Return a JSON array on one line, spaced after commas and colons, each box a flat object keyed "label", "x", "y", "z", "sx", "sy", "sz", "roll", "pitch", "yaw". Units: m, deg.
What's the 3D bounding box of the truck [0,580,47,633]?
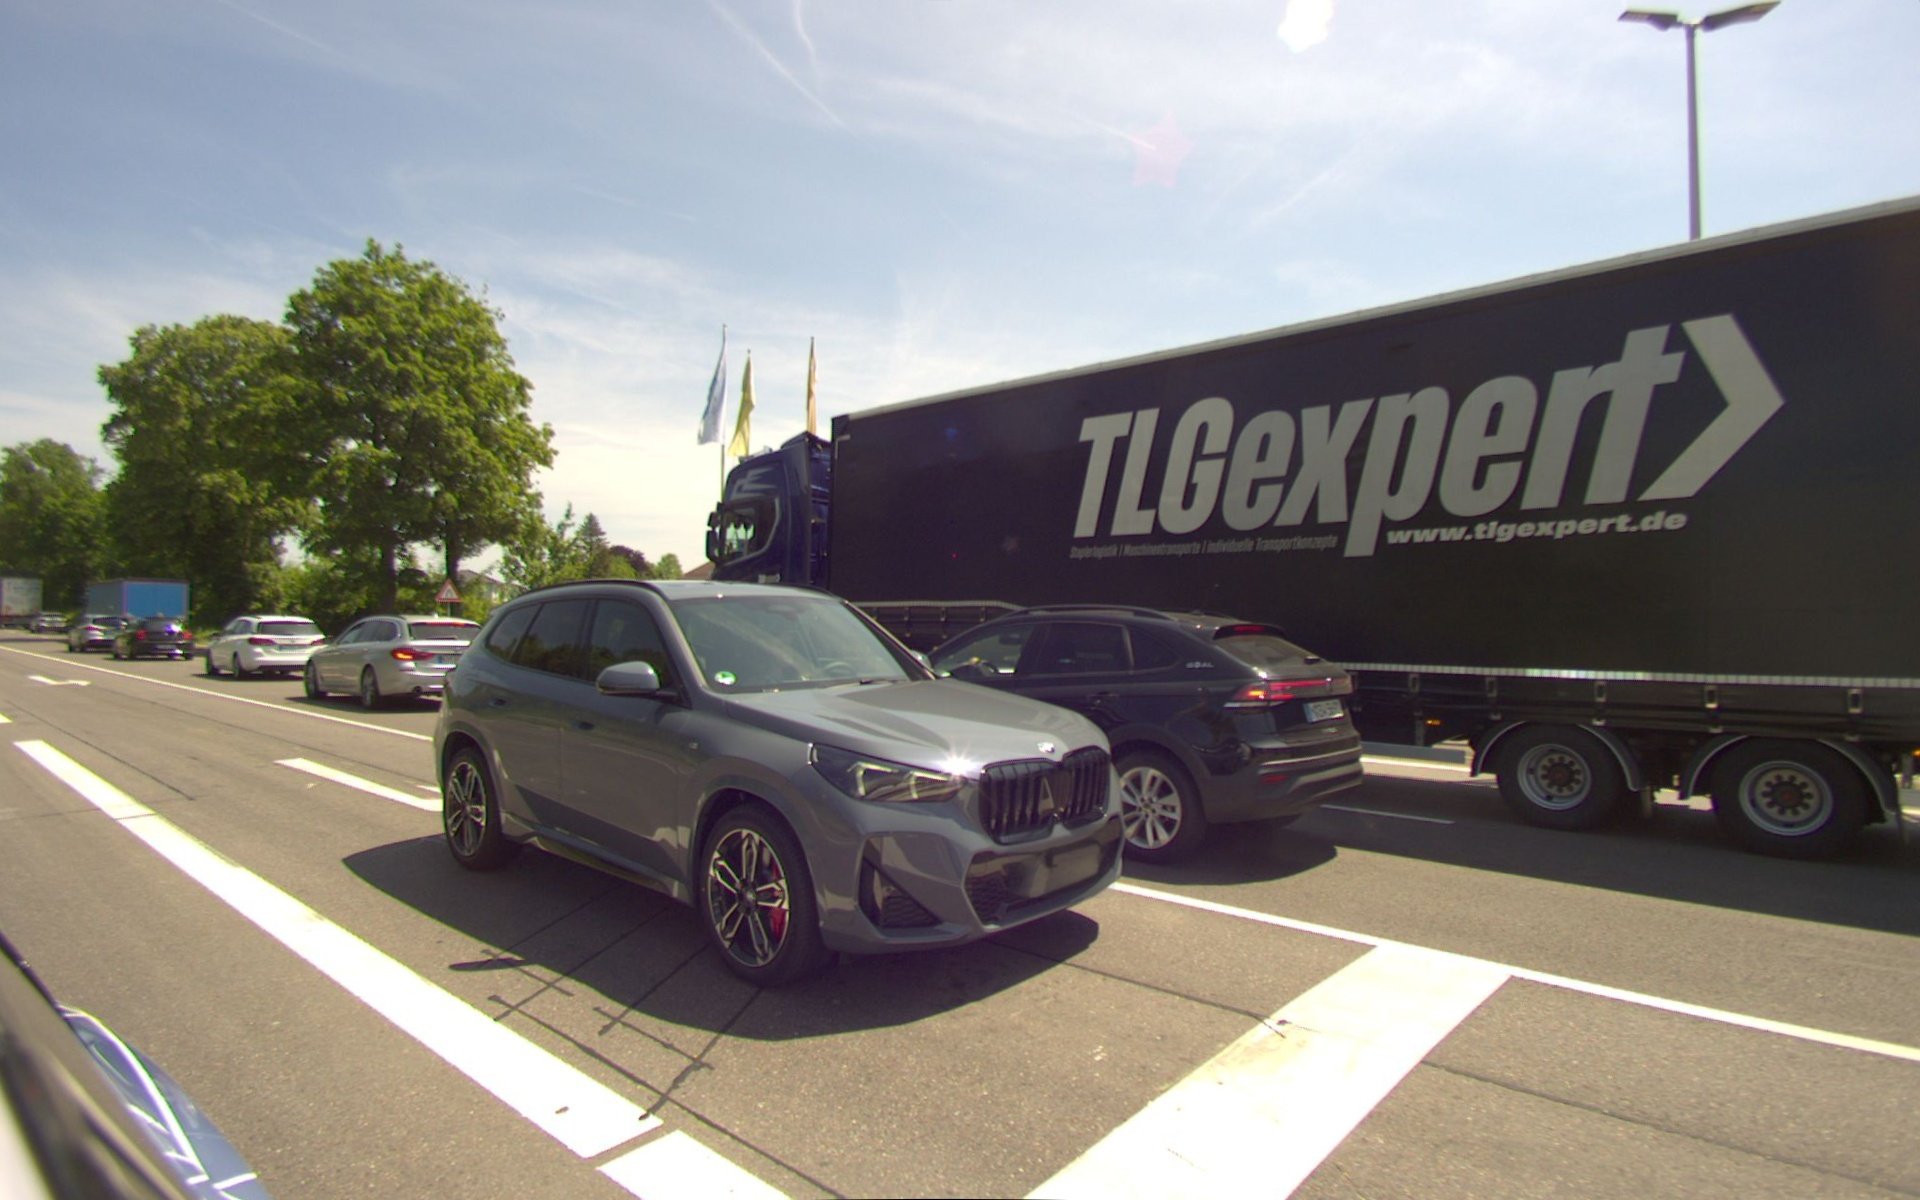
[{"label": "truck", "x": -80.682, "y": 0.574, "z": 85.823, "sx": 16.568, "sy": 4.208, "sz": 2.937, "roll": 0, "pitch": -2, "yaw": 42}]

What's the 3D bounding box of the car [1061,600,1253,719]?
[{"label": "car", "x": 4.895, "y": 1.522, "z": 24.254, "sx": 2.190, "sy": 2.507, "sz": 5.937, "roll": -1, "pitch": -6, "yaw": 36}]

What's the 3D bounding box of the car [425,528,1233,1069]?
[{"label": "car", "x": -1.015, "y": 0.639, "z": 5.227, "sx": 4.369, "sy": 1.639, "sz": 1.774, "roll": -1, "pitch": -1, "yaw": 43}]

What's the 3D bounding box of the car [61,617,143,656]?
[{"label": "car", "x": -33.684, "y": 1.401, "z": 39.702, "sx": 4.260, "sy": 1.437, "sz": 1.771, "roll": -1, "pitch": -3, "yaw": 40}]

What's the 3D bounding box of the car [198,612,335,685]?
[{"label": "car", "x": -16.684, "y": 1.118, "z": 24.278, "sx": 4.406, "sy": 1.515, "sz": 1.721, "roll": 1, "pitch": -2, "yaw": 43}]

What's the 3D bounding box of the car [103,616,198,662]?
[{"label": "car", "x": -26.589, "y": 1.286, "z": 33.191, "sx": 4.013, "sy": 1.414, "sz": 1.645, "roll": -1, "pitch": -3, "yaw": 40}]

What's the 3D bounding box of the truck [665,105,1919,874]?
[{"label": "truck", "x": 3.092, "y": -0.526, "z": 10.129, "sx": 17.543, "sy": 4.382, "sz": 3.111, "roll": -1, "pitch": -3, "yaw": 43}]

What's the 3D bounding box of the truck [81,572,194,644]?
[{"label": "truck", "x": -42.500, "y": 0.408, "z": 52.086, "sx": 11.480, "sy": 3.377, "sz": 2.816, "roll": 0, "pitch": -1, "yaw": 42}]

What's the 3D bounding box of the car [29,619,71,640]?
[{"label": "car", "x": -63.737, "y": 2.038, "z": 70.862, "sx": 4.179, "sy": 1.439, "sz": 1.742, "roll": -1, "pitch": -3, "yaw": 43}]

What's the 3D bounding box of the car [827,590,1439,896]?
[{"label": "car", "x": 0.977, "y": 0.766, "z": 6.986, "sx": 3.904, "sy": 1.520, "sz": 1.646, "roll": -1, "pitch": -3, "yaw": 43}]

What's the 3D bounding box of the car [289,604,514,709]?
[{"label": "car", "x": -9.510, "y": 0.888, "z": 17.040, "sx": 4.945, "sy": 1.520, "sz": 1.791, "roll": -1, "pitch": -3, "yaw": 42}]
